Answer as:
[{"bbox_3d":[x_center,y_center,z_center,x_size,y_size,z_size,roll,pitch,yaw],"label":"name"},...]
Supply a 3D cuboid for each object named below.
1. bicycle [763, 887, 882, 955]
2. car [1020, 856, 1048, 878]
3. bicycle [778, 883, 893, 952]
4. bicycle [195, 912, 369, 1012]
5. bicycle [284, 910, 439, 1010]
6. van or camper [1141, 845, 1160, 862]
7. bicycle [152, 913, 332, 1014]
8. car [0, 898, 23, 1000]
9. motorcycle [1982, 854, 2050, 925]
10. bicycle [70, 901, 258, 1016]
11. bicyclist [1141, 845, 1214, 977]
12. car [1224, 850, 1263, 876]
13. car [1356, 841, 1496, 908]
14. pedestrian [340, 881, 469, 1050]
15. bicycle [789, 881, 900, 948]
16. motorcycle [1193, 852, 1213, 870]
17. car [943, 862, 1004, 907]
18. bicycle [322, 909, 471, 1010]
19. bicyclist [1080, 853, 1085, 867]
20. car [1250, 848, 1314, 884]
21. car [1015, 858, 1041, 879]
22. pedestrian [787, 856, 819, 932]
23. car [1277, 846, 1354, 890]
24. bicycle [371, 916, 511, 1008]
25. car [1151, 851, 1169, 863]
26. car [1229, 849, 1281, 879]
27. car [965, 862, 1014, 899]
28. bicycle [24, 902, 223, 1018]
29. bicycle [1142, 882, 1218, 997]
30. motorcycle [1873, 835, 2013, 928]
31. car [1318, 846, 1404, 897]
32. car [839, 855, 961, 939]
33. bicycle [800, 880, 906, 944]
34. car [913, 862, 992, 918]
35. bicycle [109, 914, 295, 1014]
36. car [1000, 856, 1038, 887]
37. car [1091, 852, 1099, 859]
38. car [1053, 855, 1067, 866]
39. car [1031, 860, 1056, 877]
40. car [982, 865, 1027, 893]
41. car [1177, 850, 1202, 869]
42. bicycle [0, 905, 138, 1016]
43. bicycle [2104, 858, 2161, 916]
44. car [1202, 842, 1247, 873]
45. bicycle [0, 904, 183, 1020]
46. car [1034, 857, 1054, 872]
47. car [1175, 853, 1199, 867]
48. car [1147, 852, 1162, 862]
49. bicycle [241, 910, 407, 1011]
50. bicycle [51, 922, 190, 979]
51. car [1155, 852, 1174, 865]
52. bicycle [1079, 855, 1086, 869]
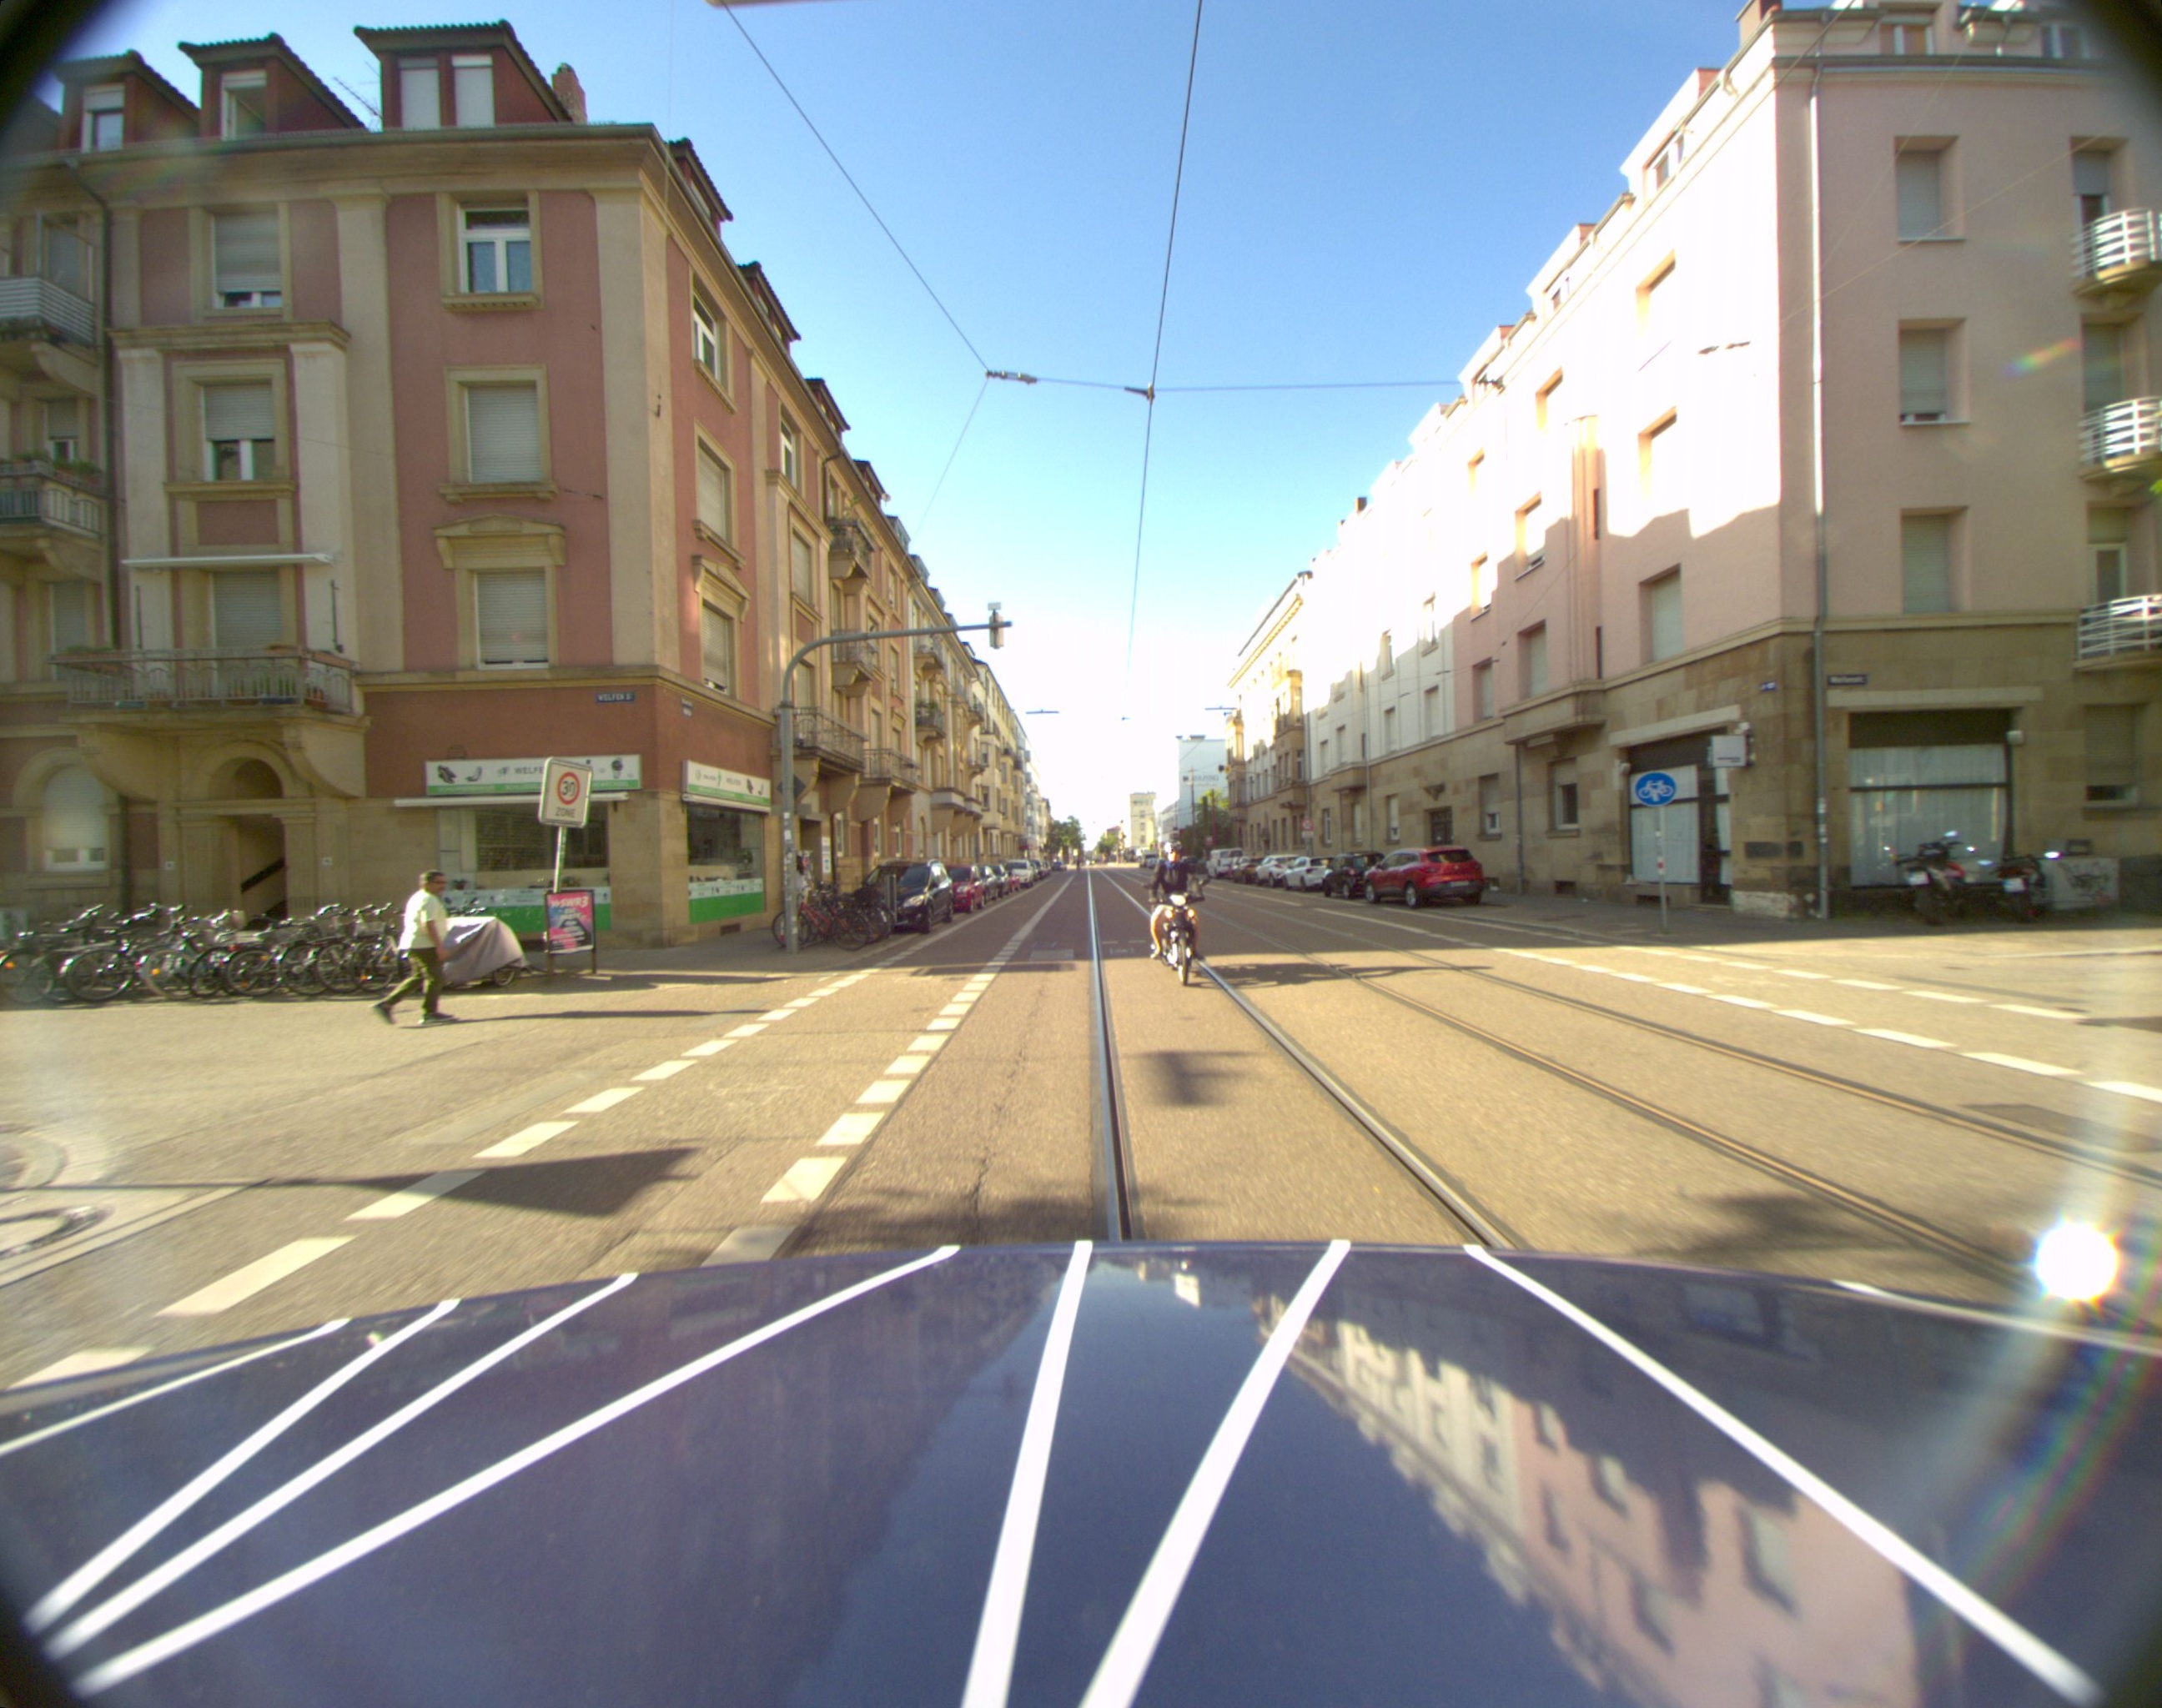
[{"bbox_3d":[-4.606,1.193,13.587,1.928,1.154,0.527,-1,1,1],"label":"bicycle"},{"bbox_3d":[-3.861,1.045,63.155,1.863,1.656,4.562,-2,0,2],"label":"car"},{"bbox_3d":[-4.562,1.167,14.166,1.964,1.220,0.527,-1,1,1],"label":"bicycle"},{"bbox_3d":[-11.089,1.457,10.639,0.545,1.148,1.728,-2,0,1],"label":"bicycle"},{"bbox_3d":[-9.982,1.429,10.637,0.469,1.148,1.728,-2,0,1],"label":"bicycle"},{"bbox_3d":[10.663,-0.127,116.585,2.177,2.453,6.231,-4,0,0],"label":"van or camper"},{"bbox_3d":[-11.659,1.477,10.648,0.545,1.148,1.728,-2,0,1],"label":"bicycle"},{"bbox_3d":[-17.711,1.463,10.614,3.501,1.488,1.641,-2,0,0],"label":"car"},{"bbox_3d":[15.363,0.552,12.516,2.039,1.029,0.555,-2,1,-43],"label":"motorcycle"},{"bbox_3d":[-12.790,1.407,10.687,0.491,1.374,1.728,-2,0,1],"label":"bicycle"},{"bbox_3d":[1.164,0.672,9.376,0.774,1.531,0.939,-2,1,2],"label":"bicyclist"},{"bbox_3d":[10.010,0.511,46.930,1.607,1.464,3.646,-4,0,1],"label":"car"},{"bbox_3d":[9.491,0.512,21.334,1.788,1.597,4.396,-4,0,-1],"label":"car"},{"bbox_3d":[-7.092,1.130,7.977,0.730,1.624,0.704,-3,2,30],"label":"pedestrian"},{"bbox_3d":[-4.573,1.163,14.727,1.964,1.220,0.527,-1,1,1],"label":"bicycle"},{"bbox_3d":[10.285,0.582,63.931,0.884,1.343,1.961,-2,1,33],"label":"motorcycle"},{"bbox_3d":[-4.148,1.133,29.863,1.658,1.504,4.474,-2,0,1],"label":"car"},{"bbox_3d":[-9.483,1.419,10.625,0.469,1.148,1.728,-2,0,1],"label":"bicycle"},{"bbox_3d":[0.137,0.678,91.497,0.509,1.692,0.845,-2,1,0],"label":"bicyclist"},{"bbox_3d":[9.672,0.536,36.928,1.776,1.538,4.365,-4,0,-1],"label":"car"},{"bbox_3d":[-3.981,1.097,57.166,1.742,1.433,4.032,-2,0,-1],"label":"car"},{"bbox_3d":[-6.306,0.902,17.258,0.514,1.677,0.448,-2,1,0],"label":"pedestrian"},{"bbox_3d":[9.728,0.535,31.888,1.788,1.612,4.178,-4,0,-1],"label":"car"},{"bbox_3d":[-8.970,1.474,10.740,0.469,1.043,1.728,-2,0,1],"label":"bicycle"},{"bbox_3d":[10.380,0.399,100.487,1.788,1.472,4.699,-4,0,0],"label":"car"},{"bbox_3d":[9.623,0.520,42.284,1.788,1.515,4.359,-4,0,0],"label":"car"},{"bbox_3d":[-4.111,1.149,34.741,1.658,1.474,4.473,-2,0,0],"label":"car"},{"bbox_3d":[-13.355,1.422,10.692,0.545,1.374,1.728,-2,0,1],"label":"bicycle"},{"bbox_3d":[1.180,0.996,9.395,0.767,1.191,1.752,-2,0,3],"label":"bicycle"},{"bbox_3d":[14.124,0.404,12.540,0.948,1.410,2.029,-1,1,31],"label":"motorcycle"},{"bbox_3d":[9.442,0.557,25.860,1.787,1.544,3.019,-4,0,1],"label":"car"},{"bbox_3d":[-4.214,0.911,18.399,1.757,1.725,4.506,1,0,1],"label":"car"},{"bbox_3d":[-4.572,1.158,15.299,1.964,1.220,0.527,-1,1,1],"label":"bicycle"},{"bbox_3d":[-4.105,1.098,24.824,1.757,1.585,3.730,-2,0,2],"label":"car"},{"bbox_3d":[-12.241,1.489,10.676,0.545,1.148,1.728,-2,0,1],"label":"bicycle"},{"bbox_3d":[-3.698,0.996,46.003,1.847,1.681,4.504,-2,0,1],"label":"car"},{"bbox_3d":[3.398,0.445,184.316,1.970,1.577,4.000,-2,0,1],"label":"car"},{"bbox_3d":[-2.918,0.894,106.414,1.714,1.399,4.358,1,0,2],"label":"car"},{"bbox_3d":[-3.445,1.315,70.162,1.863,1.447,4.710,-2,0,2],"label":"car"},{"bbox_3d":[-4.004,1.282,40.242,1.658,1.242,4.505,-2,0,3],"label":"car"},{"bbox_3d":[10.076,0.461,70.602,1.787,1.556,4.611,-4,0,3],"label":"car"},{"bbox_3d":[-14.654,1.476,10.697,0.545,1.374,1.728,-2,0,1],"label":"bicycle"},{"bbox_3d":[18.335,0.526,12.546,1.788,0.927,0.614,-2,1,9],"label":"bicycle"},{"bbox_3d":[9.790,0.229,52.220,1.978,1.937,5.251,-4,0,0],"label":"car"},{"bbox_3d":[-13.965,1.448,10.650,0.628,1.374,1.728,-2,0,0],"label":"bicycle"},{"bbox_3d":[-3.777,1.049,77.701,1.722,1.482,4.002,-1,0,1],"label":"car"},{"bbox_3d":[10.505,0.577,75.843,1.787,1.306,4.221,-4,0,1],"label":"car"},{"bbox_3d":[10.624,0.398,109.523,1.787,1.390,4.445,-4,0,2],"label":"car"},{"bbox_3d":[-10.516,1.439,10.646,0.545,1.148,1.728,-2,0,1],"label":"bicycle"},{"bbox_3d":[-16.407,1.641,12.998,1.727,0.874,0.490,-2,1,0],"label":"bicycle"},{"bbox_3d":[10.375,0.575,94.557,1.787,1.437,4.841,-4,0,1],"label":"car"},{"bbox_3d":[0.147,0.956,91.449,0.775,1.700,1.937,-2,0,0],"label":"bicycle"}]
